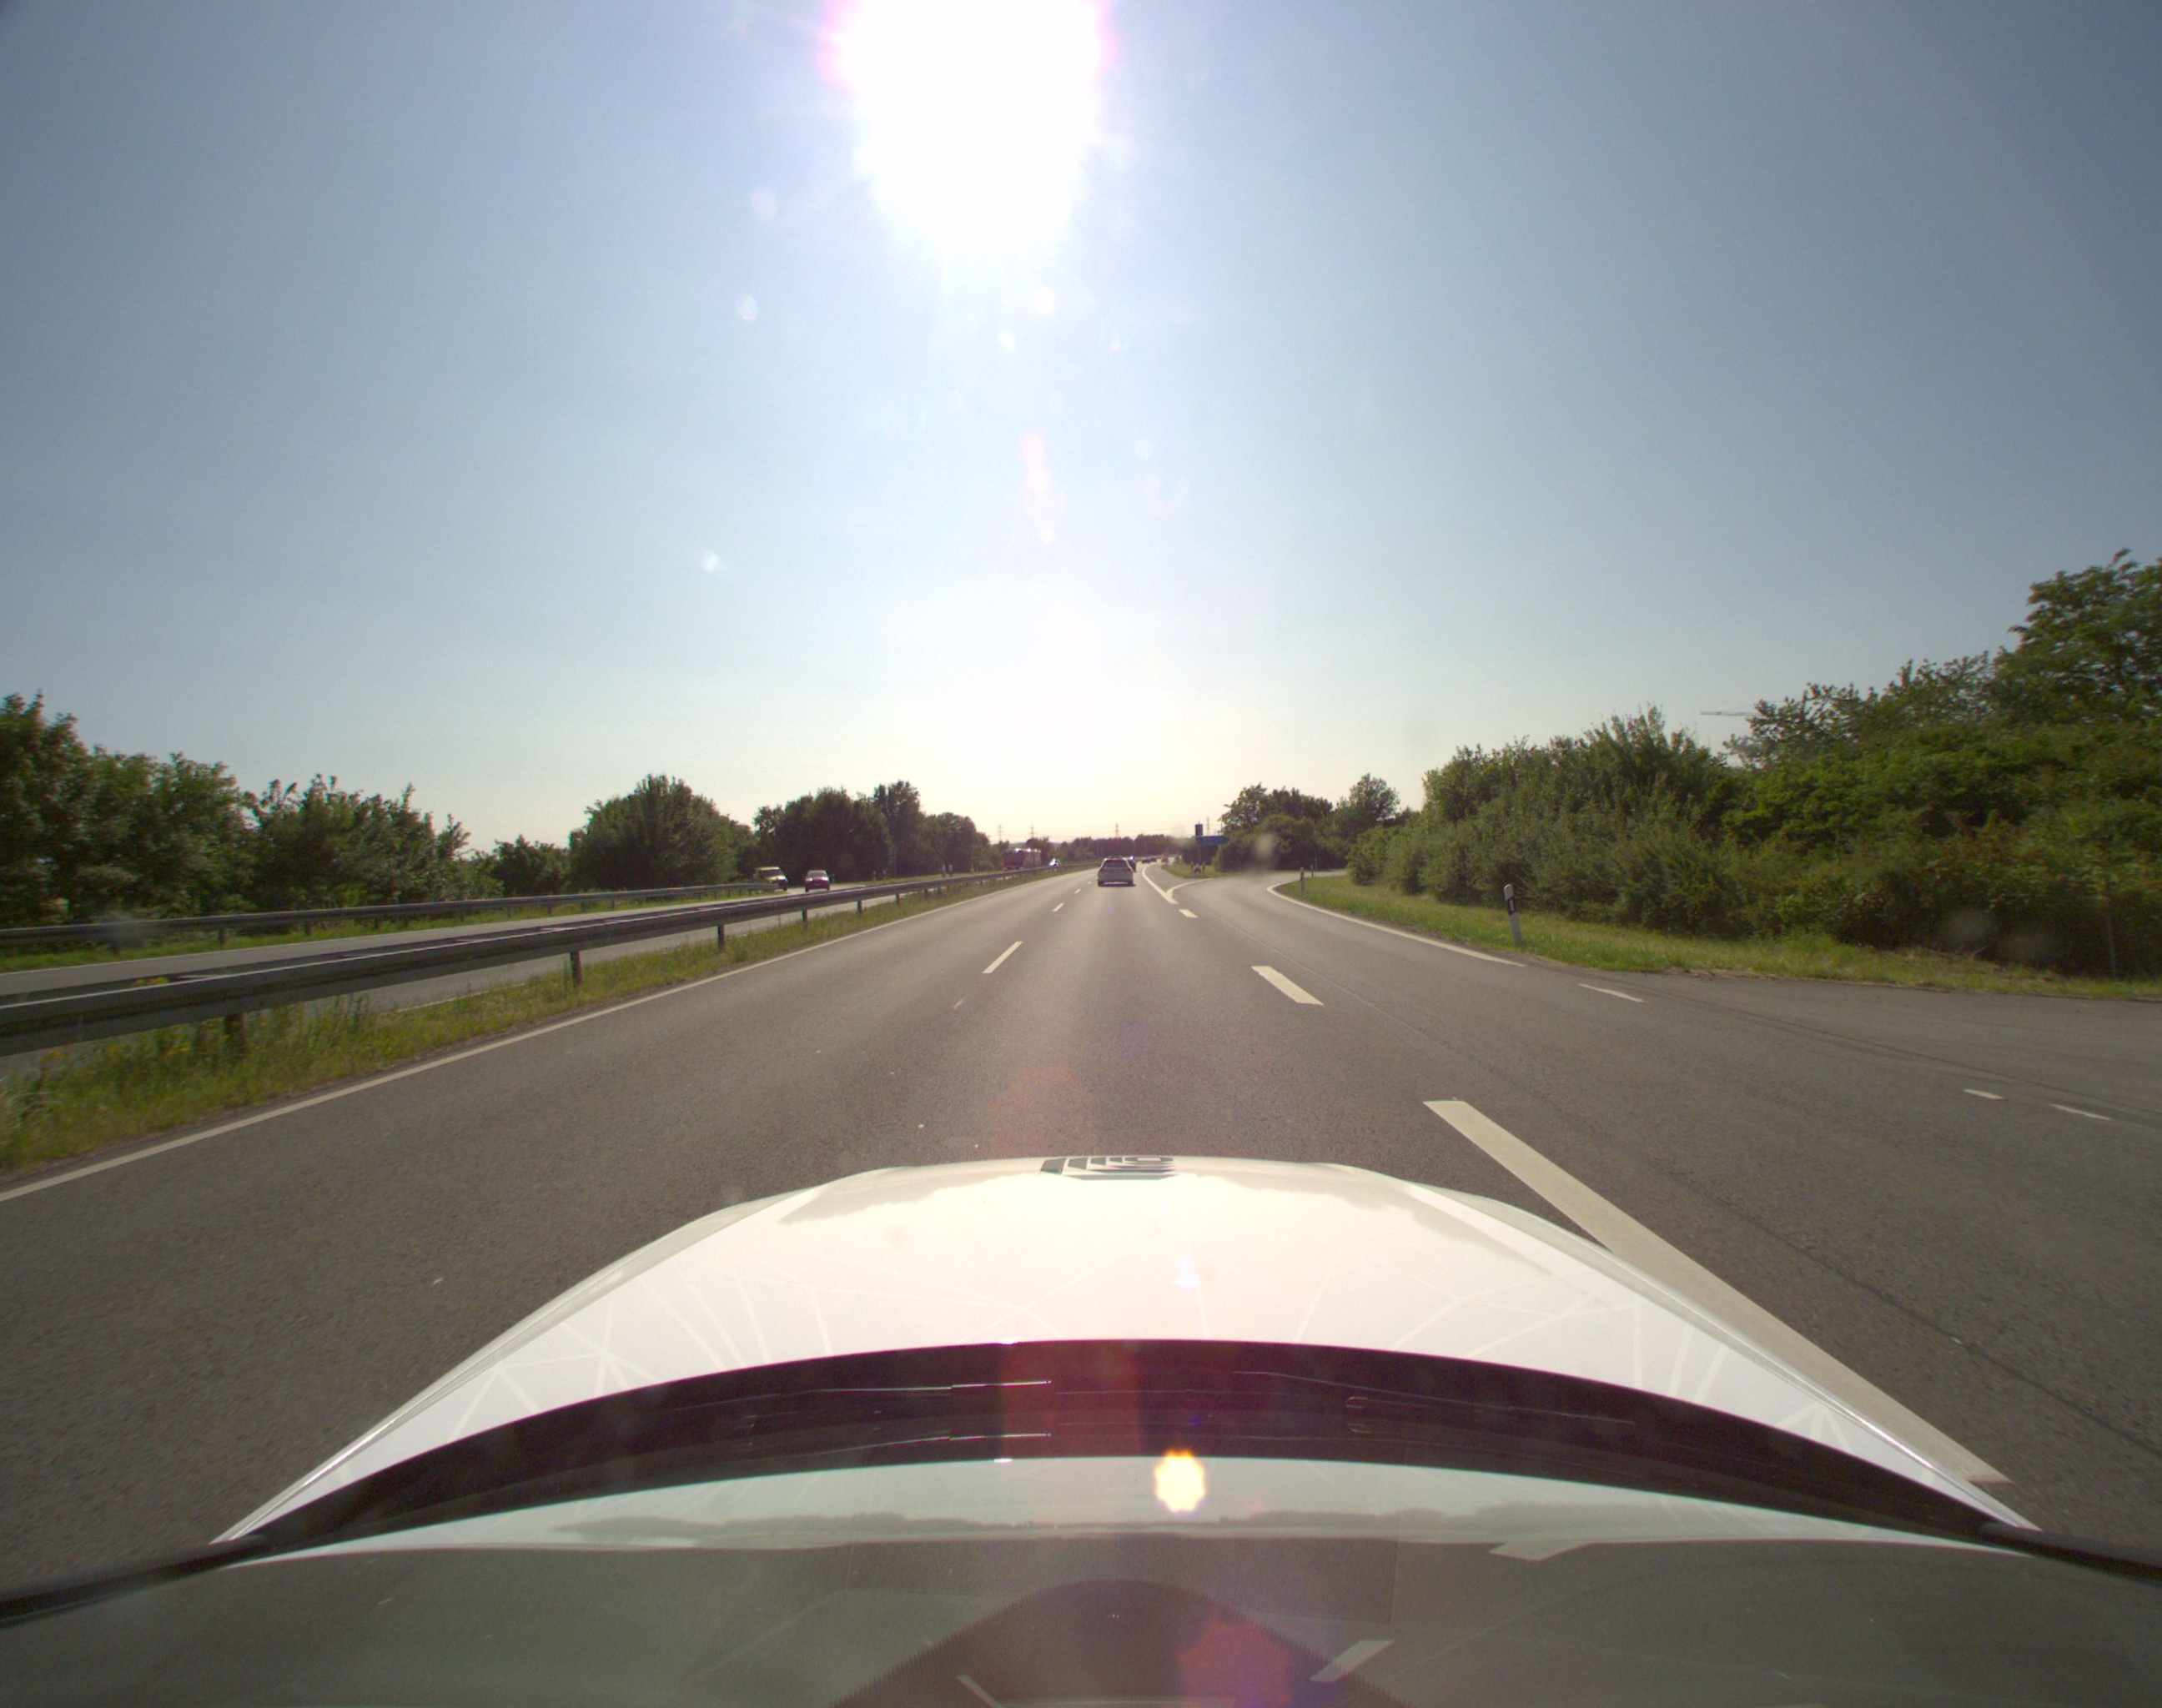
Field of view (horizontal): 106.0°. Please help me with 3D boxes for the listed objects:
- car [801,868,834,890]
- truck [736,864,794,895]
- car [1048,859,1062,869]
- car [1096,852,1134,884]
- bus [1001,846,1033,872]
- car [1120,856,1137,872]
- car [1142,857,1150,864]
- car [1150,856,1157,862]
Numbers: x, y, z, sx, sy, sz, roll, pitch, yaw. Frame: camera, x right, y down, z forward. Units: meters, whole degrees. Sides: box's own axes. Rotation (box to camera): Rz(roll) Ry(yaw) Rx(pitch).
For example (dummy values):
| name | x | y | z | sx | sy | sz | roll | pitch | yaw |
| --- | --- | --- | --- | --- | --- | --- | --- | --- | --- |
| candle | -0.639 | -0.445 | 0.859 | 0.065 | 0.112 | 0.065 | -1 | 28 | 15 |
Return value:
| name | x | y | z | sx | sy | sz | roll | pitch | yaw |
| --- | --- | --- | --- | --- | --- | --- | --- | --- | --- |
| car | -18.930 | 1.762 | 58.605 | 1.786 | 1.445 | 3.983 | -2 | 0 | -12 |
| truck | -29.455 | 2.380 | 75.719 | 6.532 | 2.453 | 2.147 | -5 | -1 | 42 |
| car | -4.605 | 1.750 | 145.280 | 1.985 | 1.605 | 4.279 | 0 | 1 | 4 |
| car | 1.829 | 0.721 | 43.683 | 1.950 | 1.601 | 4.110 | 0 | 1 | 3 |
| bus | -8.297 | 0.624 | 106.667 | 2.714 | 3.110 | 9.843 | -2 | 0 | 3 |
| car | 4.973 | 1.033 | 85.411 | 1.786 | 1.543 | 3.674 | -1 | 0 | 3 |
| car | 15.536 | 1.554 | 194.102 | 1.832 | 1.802 | 4.007 | -1 | 0 | 6 |
| car | 20.106 | 1.331 | 225.418 | 1.834 | 1.698 | 4.003 | -1 | 0 | 3 |
